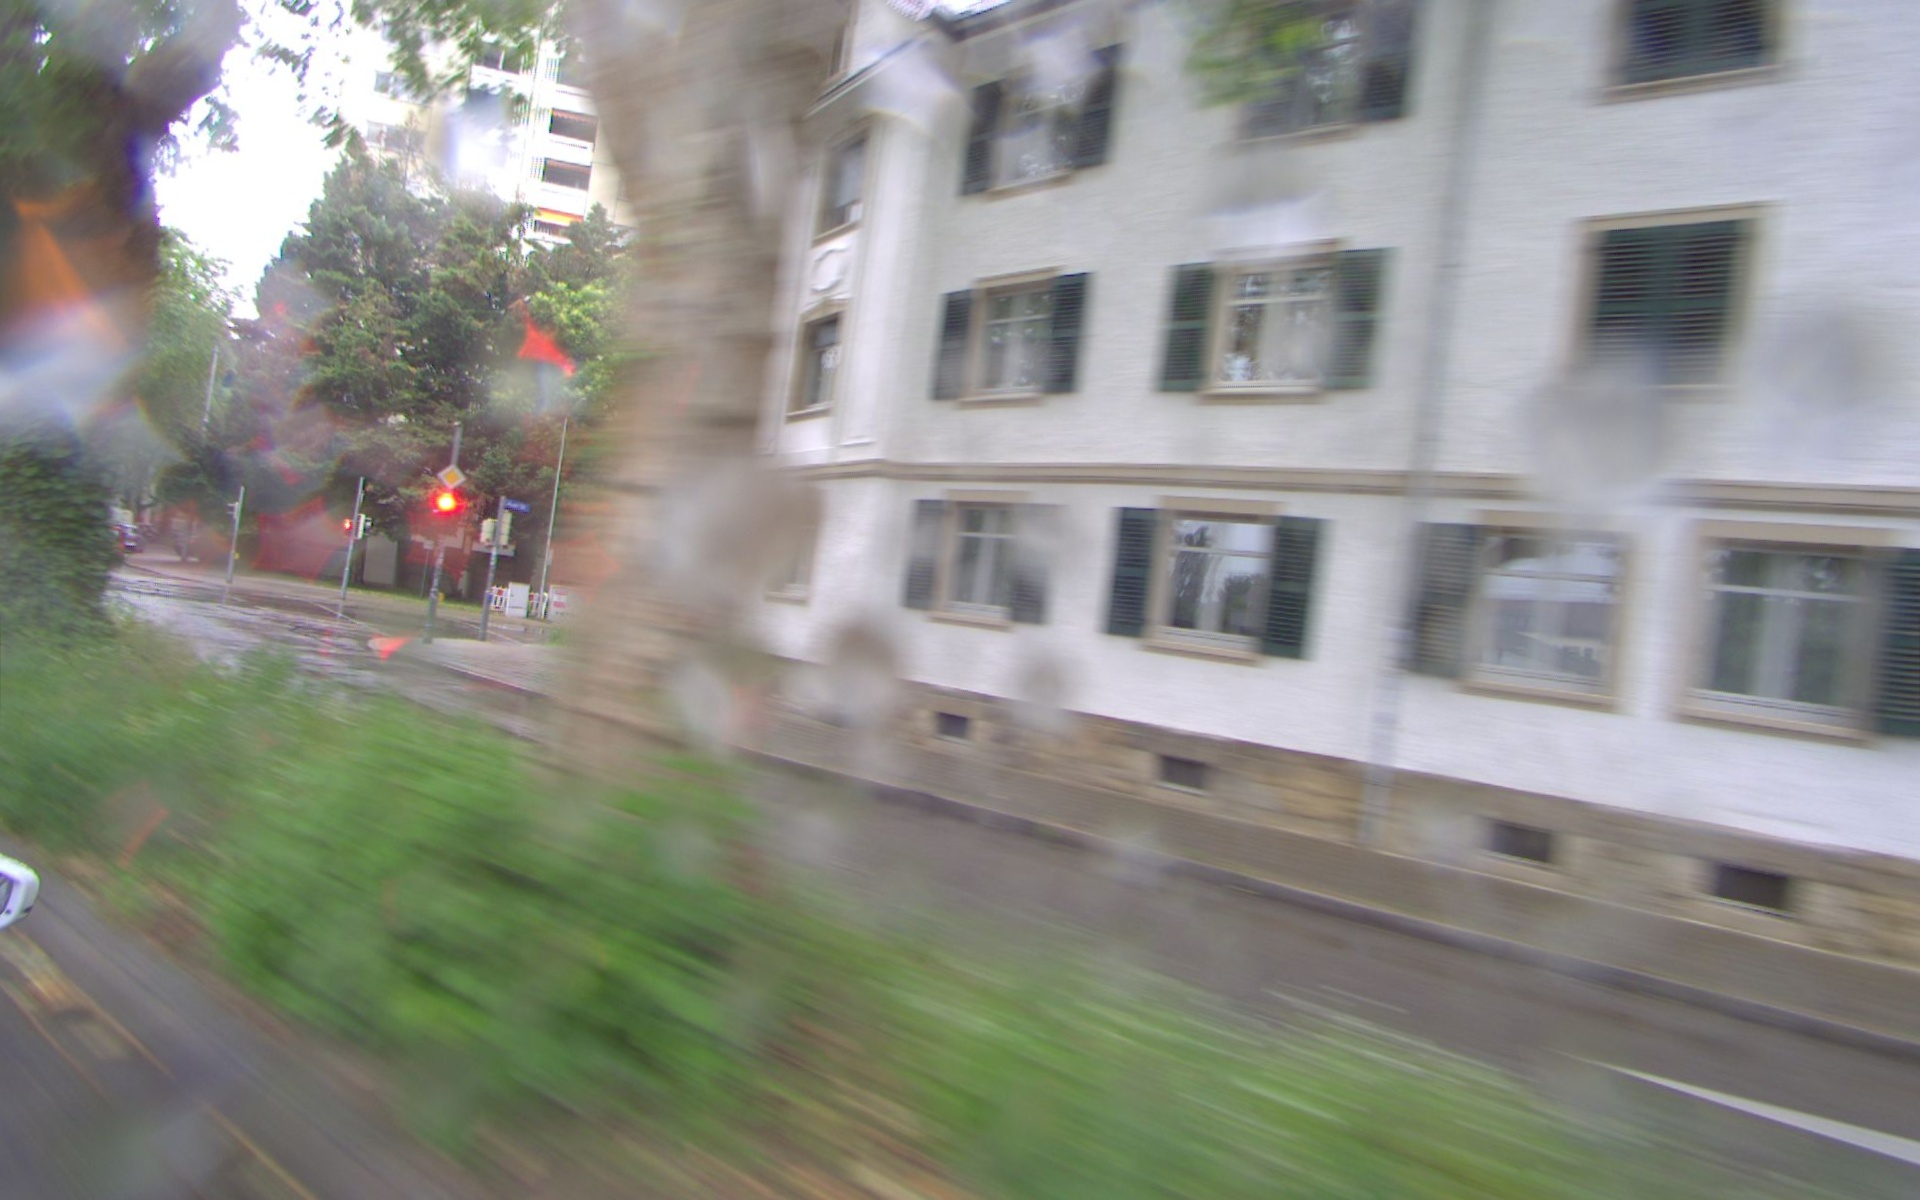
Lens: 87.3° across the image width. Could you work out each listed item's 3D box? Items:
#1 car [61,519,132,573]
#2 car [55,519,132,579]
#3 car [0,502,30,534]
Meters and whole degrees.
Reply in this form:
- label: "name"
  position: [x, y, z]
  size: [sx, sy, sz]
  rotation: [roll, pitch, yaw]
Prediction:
- label: "car"
  position: [-37.995, -2.411, 44.341]
  size: [1.984, 2.038, 3.958]
  rotation: [8, -1, -38]
- label: "car"
  position: [-35.071, -2.088, 40.809]
  size: [1.984, 2.038, 3.958]
  rotation: [8, -1, -38]
- label: "car"
  position: [-57.009, -4.986, 58.699]
  size: [3.574, 1.637, 1.671]
  rotation: [8, -1, -26]
